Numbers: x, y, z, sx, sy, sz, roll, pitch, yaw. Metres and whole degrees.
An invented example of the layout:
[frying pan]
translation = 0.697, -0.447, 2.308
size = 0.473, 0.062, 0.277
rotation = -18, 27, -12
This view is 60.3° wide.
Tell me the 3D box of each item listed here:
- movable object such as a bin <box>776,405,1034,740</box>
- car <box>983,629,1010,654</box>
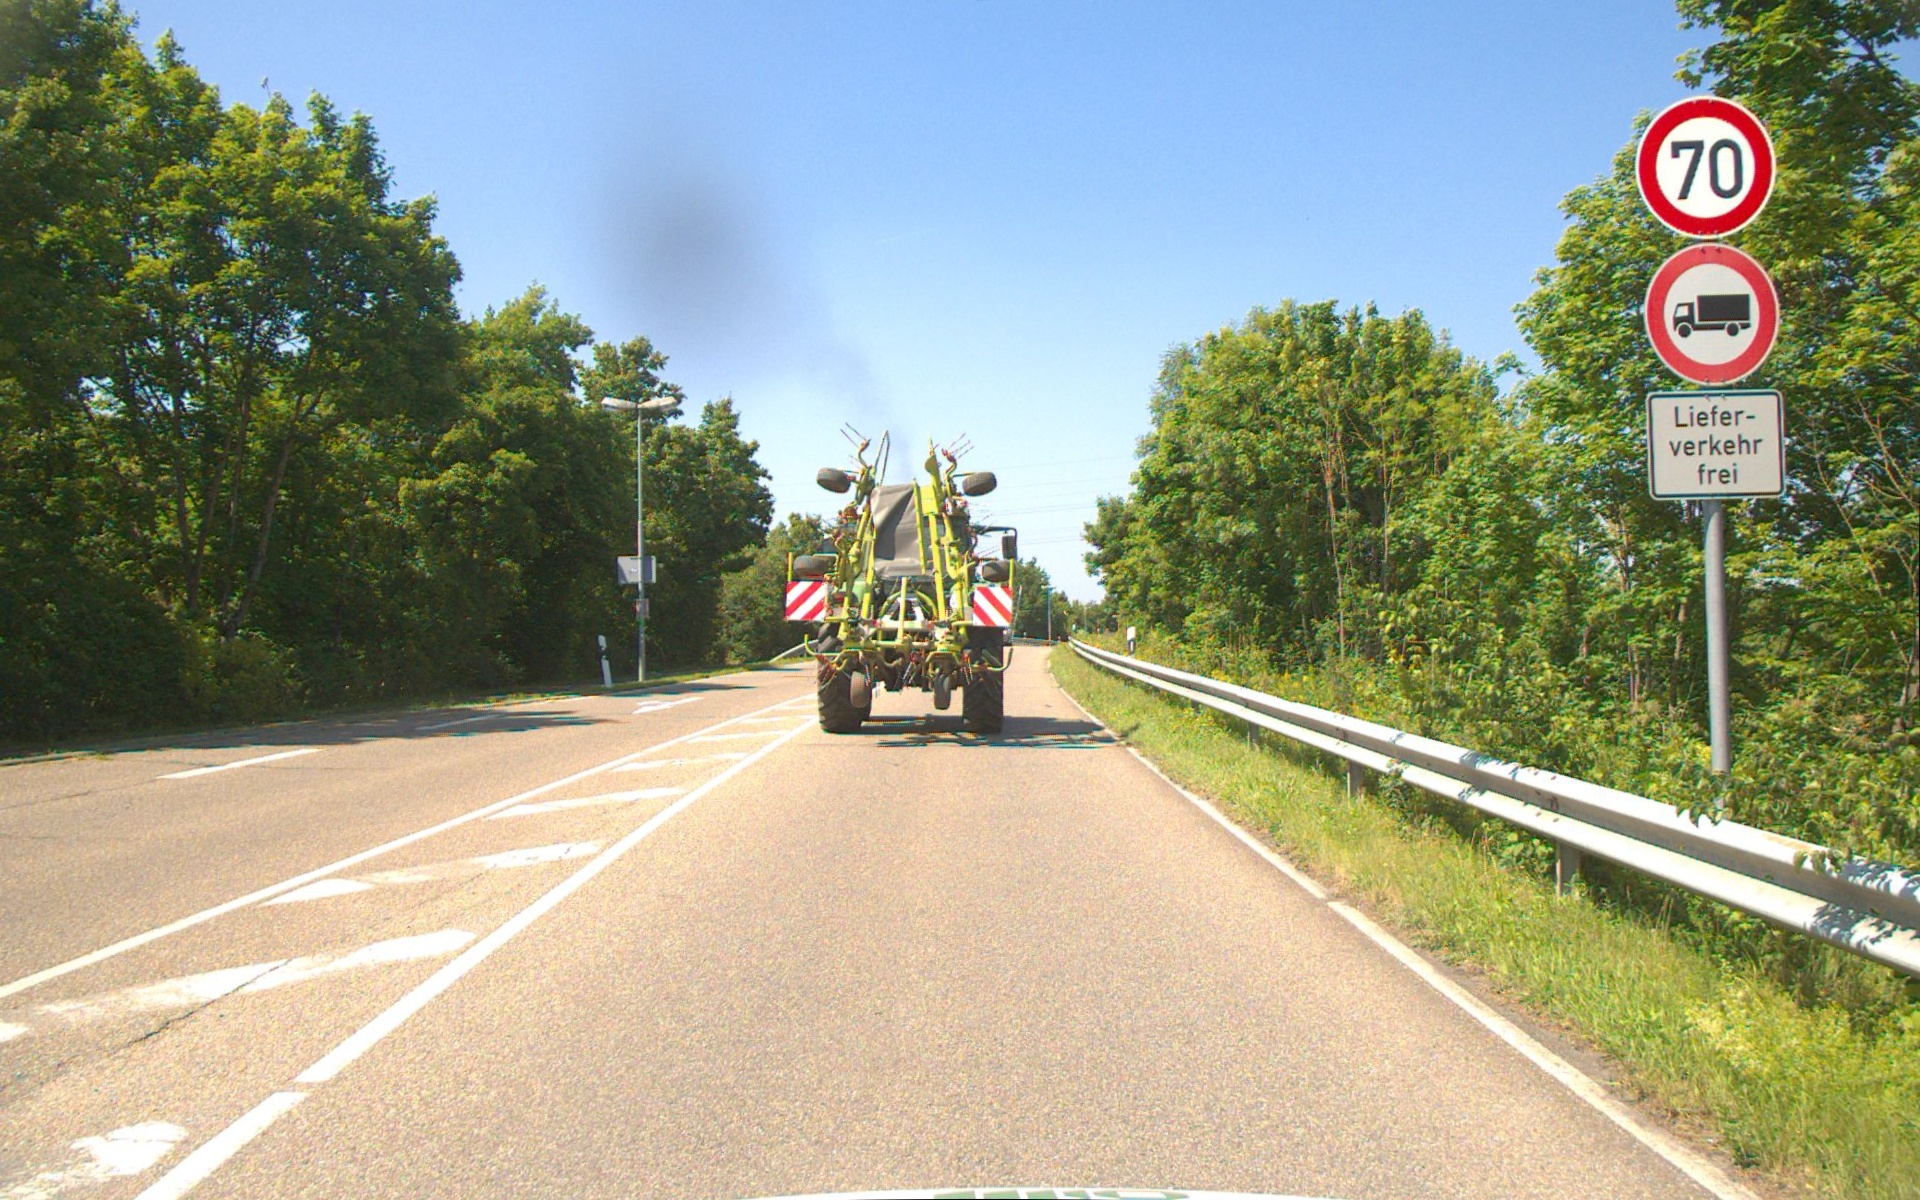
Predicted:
[movable object such as a bin]
translation = -0.512, -0.219, 20.245
size = 2.698, 3.505, 5.670
rotation = 0, -2, 1
[car]
translation = 2.509, 2.839, 112.225
size = 1.704, 1.481, 3.889
rotation = 5, -2, 2
